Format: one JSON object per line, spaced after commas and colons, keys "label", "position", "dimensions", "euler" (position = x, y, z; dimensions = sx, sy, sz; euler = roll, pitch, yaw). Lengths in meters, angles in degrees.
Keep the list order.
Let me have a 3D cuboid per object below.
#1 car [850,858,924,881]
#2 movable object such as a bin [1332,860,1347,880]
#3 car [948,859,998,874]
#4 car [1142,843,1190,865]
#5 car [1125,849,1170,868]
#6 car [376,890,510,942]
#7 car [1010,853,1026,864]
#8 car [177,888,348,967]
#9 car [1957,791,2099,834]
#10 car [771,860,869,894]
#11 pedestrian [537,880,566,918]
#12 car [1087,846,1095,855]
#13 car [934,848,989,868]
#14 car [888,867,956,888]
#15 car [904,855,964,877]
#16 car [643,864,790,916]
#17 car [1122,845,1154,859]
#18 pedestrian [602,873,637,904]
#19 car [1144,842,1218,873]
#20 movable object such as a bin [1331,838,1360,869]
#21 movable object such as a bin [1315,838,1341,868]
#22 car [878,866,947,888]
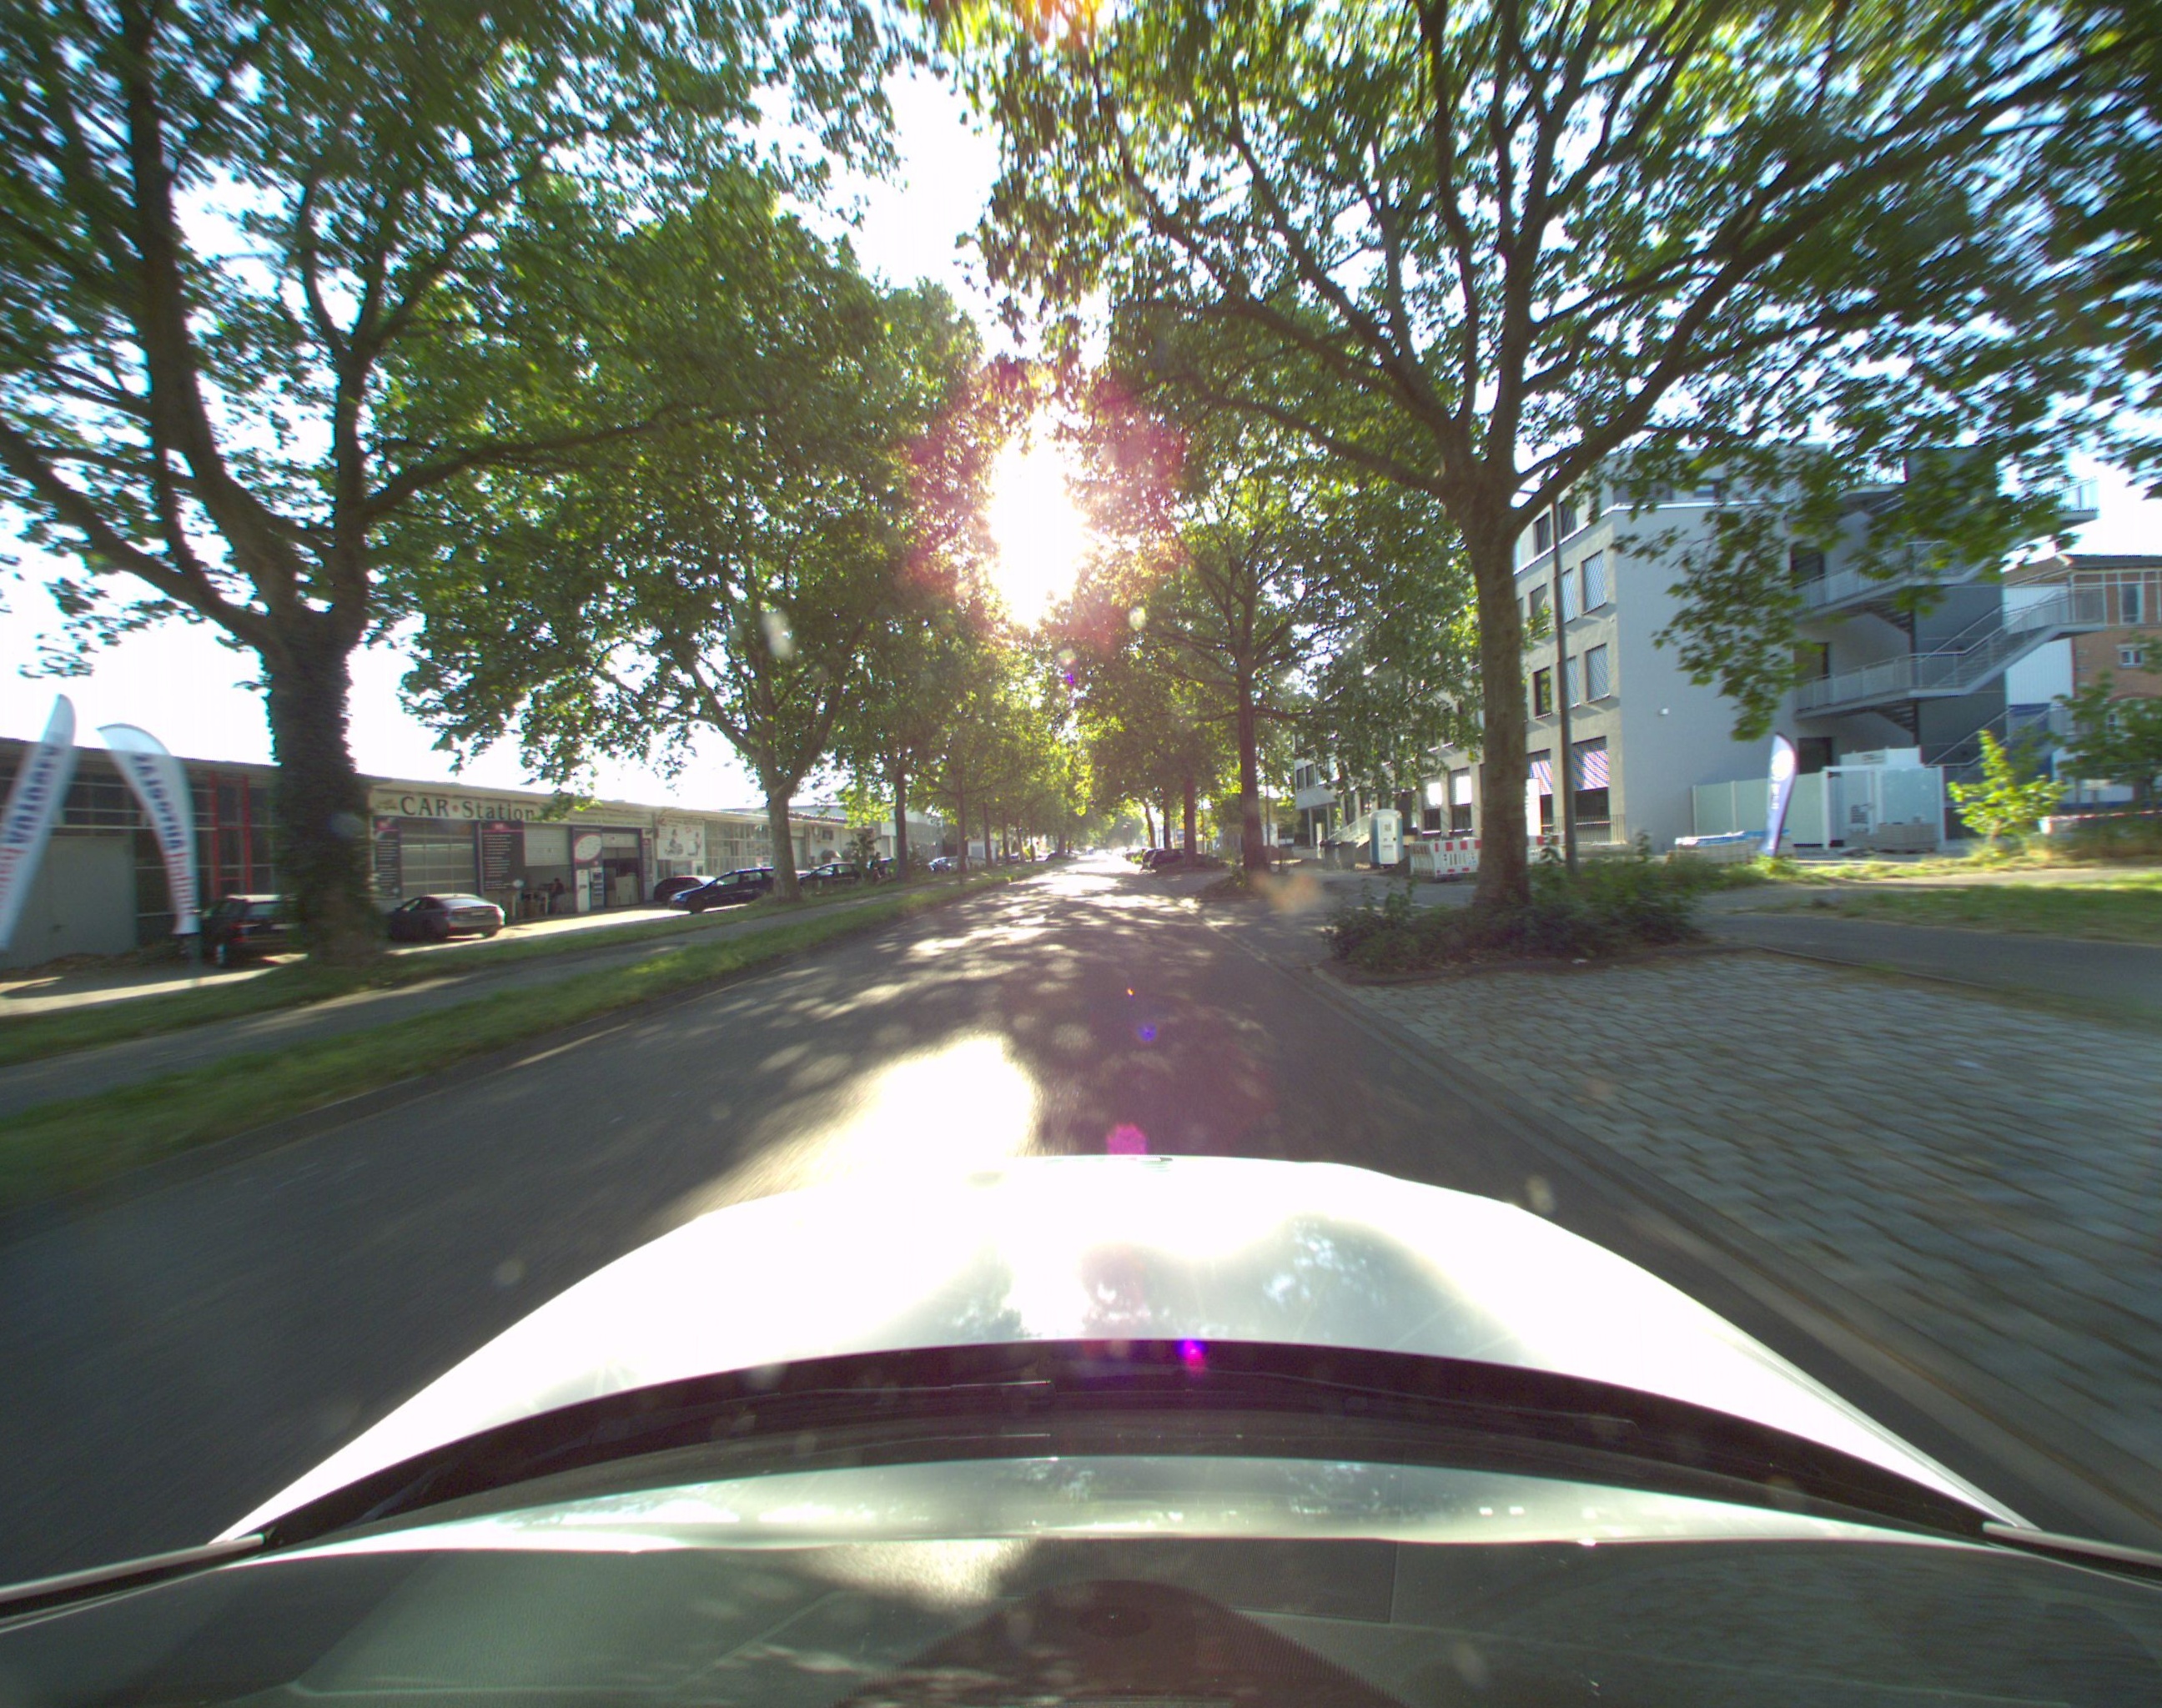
{"label": "car", "position": [-12.748, 0.982, 53.566], "dimensions": [4.282, 1.452, 1.978], "euler": [0, -1, -37]}
{"label": "movable object such as a bin", "position": [11.528, 0.727, 36.326], "dimensions": [0.490, 0.875, 0.634], "euler": [0, -1, 0]}
{"label": "car", "position": [-10.524, 1.194, 79.743], "dimensions": [4.508, 1.306, 1.976], "euler": [-2, 0, -40]}
{"label": "car", "position": [7.157, -0.018, 68.851], "dimensions": [3.773, 1.486, 1.860], "euler": [-5, -1, -1]}
{"label": "car", "position": [7.214, 0.501, 88.425], "dimensions": [4.558, 1.715, 1.941], "euler": [-5, 0, -3]}
{"label": "car", "position": [-20.630, 1.940, 26.336], "dimensions": [3.949, 1.442, 2.012], "euler": [-1, -1, 29]}
{"label": "car", "position": [-8.766, 0.597, 114.104], "dimensions": [1.989, 1.369, 3.916], "euler": [-6, 0, -3]}
{"label": "car", "position": [-20.612, 1.761, 20.502], "dimensions": [3.949, 1.706, 2.012], "euler": [-1, -1, 29]}
{"label": "car", "position": [44.136, -1.898, 38.095], "dimensions": [1.987, 1.749, 4.000], "euler": [0, -1, 0]}
{"label": "car", "position": [-12.522, 1.081, 39.054], "dimensions": [4.354, 1.530, 1.985], "euler": [0, -1, -23]}
{"label": "pedestrian", "position": [-24.246, 2.051, 37.287], "dimensions": [0.790, 1.676, 0.770], "euler": [0, -1, 1]}
{"label": "car", "position": [3.023, -1.004, 243.534], "dimensions": [2.120, 2.659, 7.003], "euler": [-2, 0, 1]}
{"label": "car", "position": [-9.930, 0.346, 67.906], "dimensions": [1.975, 1.629, 4.288], "euler": [-1, -1, 44]}
{"label": "car", "position": [-11.159, 1.602, 57.407], "dimensions": [4.282, 1.382, 1.978], "euler": [0, -1, -37]}
{"label": "car", "position": [-11.441, 0.913, 63.664], "dimensions": [1.975, 1.699, 4.287], "euler": [-1, -1, 45]}
{"label": "car", "position": [-13.572, 1.296, 30.640], "dimensions": [4.904, 1.760, 1.985], "euler": [0, -1, -23]}
{"label": "car", "position": [8.584, -0.247, 123.138], "dimensions": [4.611, 1.712, 1.999], "euler": [-5, -1, -1]}
{"label": "pedestrian", "position": [-24.546, 1.823, 43.311], "dimensions": [1.155, 1.560, 1.126], "euler": [0, -1, 8]}
{"label": "car", "position": [6.218, 0.197, 50.770], "dimensions": [4.271, 1.486, 1.860], "euler": [-6, -1, -1]}
{"label": "movable object such as a bin", "position": [11.234, -0.012, 34.636], "dimensions": [0.745, 1.263, 1.612], "euler": [0, -1, 2]}
{"label": "movable object such as a bin", "position": [11.341, -0.033, 37.484], "dimensions": [0.745, 1.350, 1.621], "euler": [0, -1, 2]}
{"label": "car", "position": [-11.742, 1.561, 56.901], "dimensions": [4.282, 1.452, 1.978], "euler": [0, -1, -37]}
